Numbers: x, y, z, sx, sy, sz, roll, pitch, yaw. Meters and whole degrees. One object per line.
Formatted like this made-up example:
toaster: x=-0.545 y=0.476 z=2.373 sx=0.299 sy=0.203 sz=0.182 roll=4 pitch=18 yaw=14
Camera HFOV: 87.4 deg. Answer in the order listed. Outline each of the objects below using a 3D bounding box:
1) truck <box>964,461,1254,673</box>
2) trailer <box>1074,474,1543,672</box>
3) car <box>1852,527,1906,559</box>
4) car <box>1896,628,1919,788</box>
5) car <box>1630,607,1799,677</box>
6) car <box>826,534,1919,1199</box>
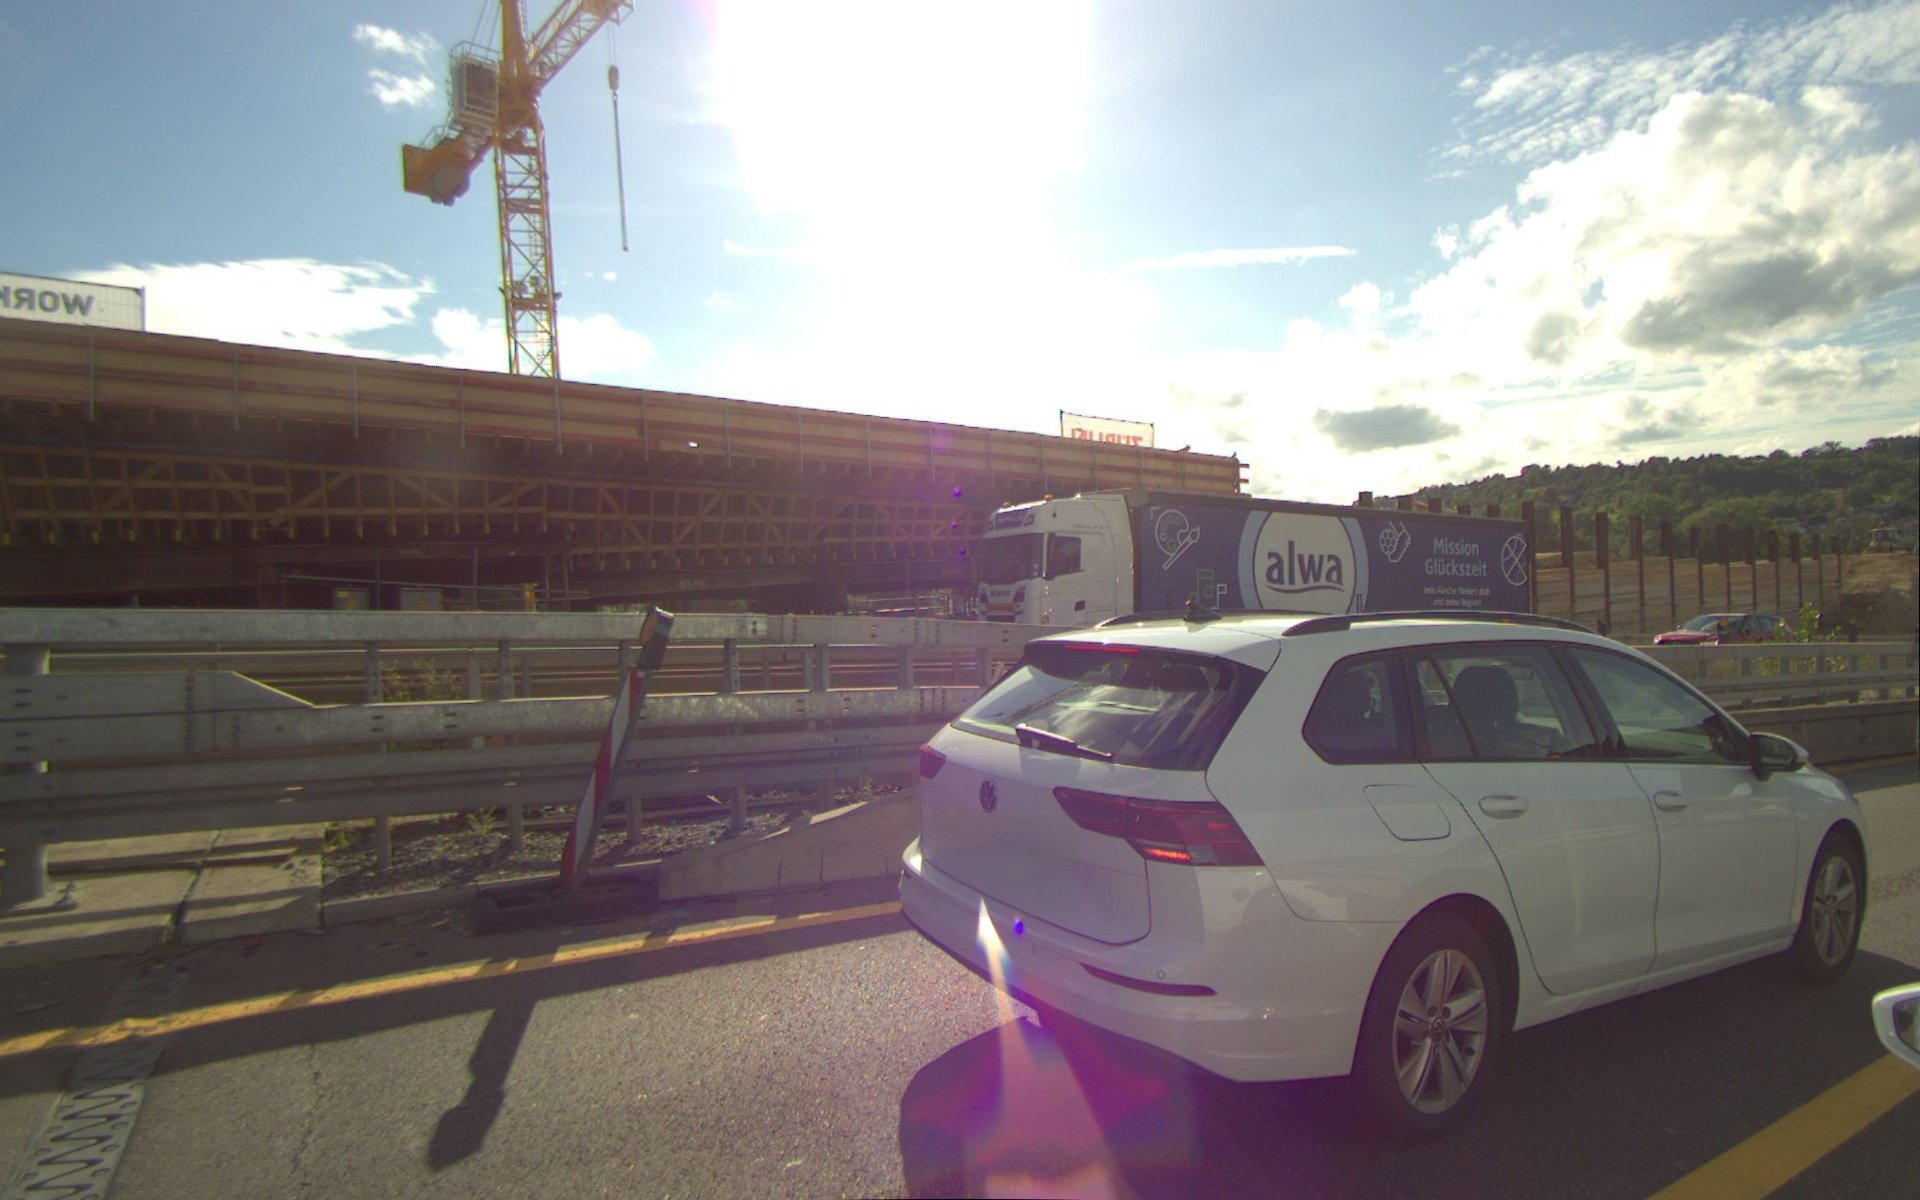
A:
truck: x=3.364 y=-0.582 z=22.485 sx=5.895 sy=4.192 sz=2.701 roll=2 pitch=0 yaw=-28
trailer: x=9.388 y=-0.377 z=25.701 sx=13.638 sy=4.211 sz=2.677 roll=2 pitch=0 yaw=-28
car: x=78.658 y=-4.852 z=85.960 sx=5.262 sy=2.168 sz=1.984 roll=2 pitch=-5 yaw=-32
car: x=10.717 y=1.001 z=9.435 sx=3.952 sy=1.441 sz=1.714 roll=1 pitch=0 yaw=-29
car: x=20.905 y=1.161 z=27.824 sx=4.267 sy=1.791 sz=1.918 roll=2 pitch=0 yaw=-25
car: x=1.884 y=0.714 z=4.013 sx=4.465 sy=1.510 sz=1.761 roll=2 pitch=-2 yaw=-31
